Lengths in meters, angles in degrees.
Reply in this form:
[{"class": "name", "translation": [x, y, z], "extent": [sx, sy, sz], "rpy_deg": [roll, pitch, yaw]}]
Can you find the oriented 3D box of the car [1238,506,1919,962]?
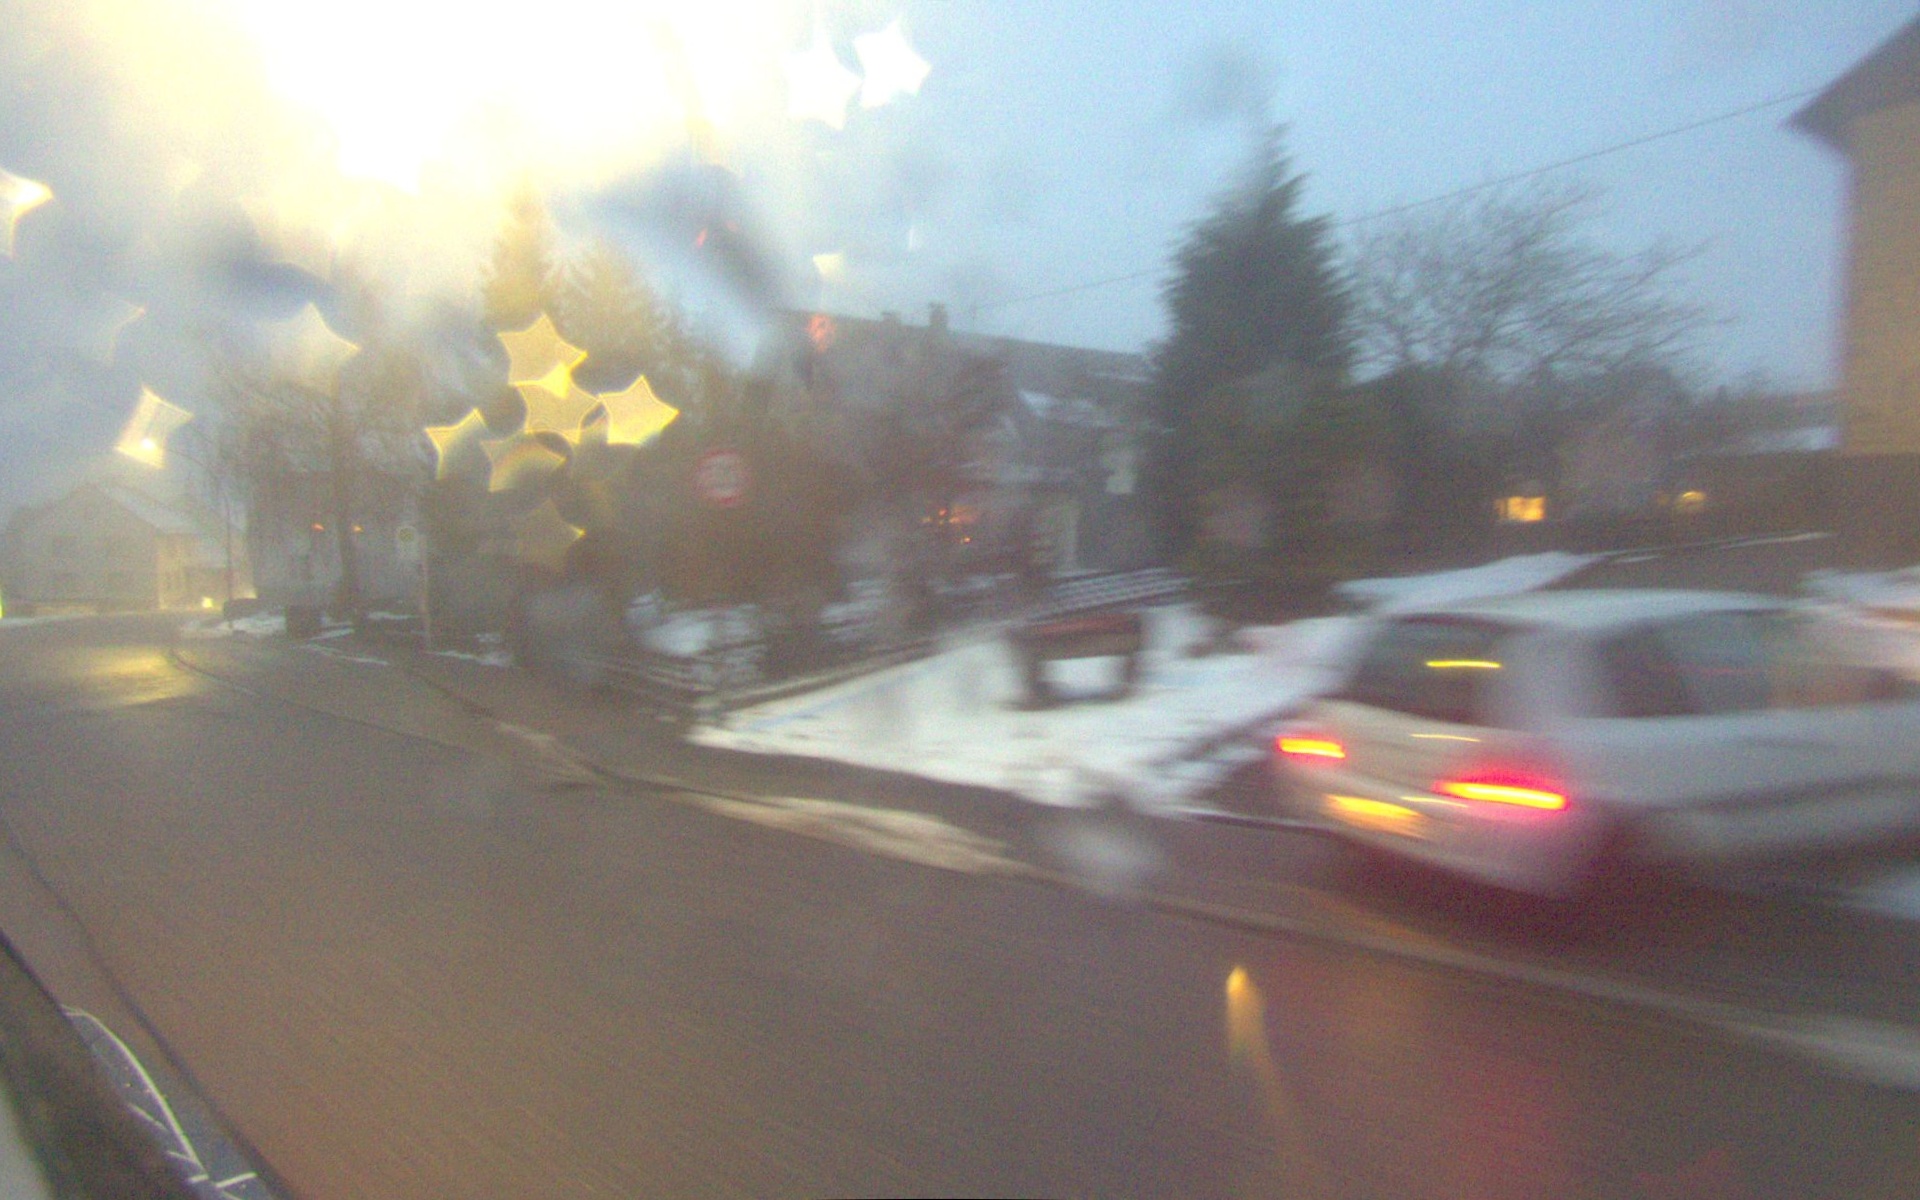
[{"class": "car", "translation": [3.750, 0.408, 5.293], "extent": [3.932, 1.621, 1.909], "rpy_deg": [-4, 2, -17]}]
